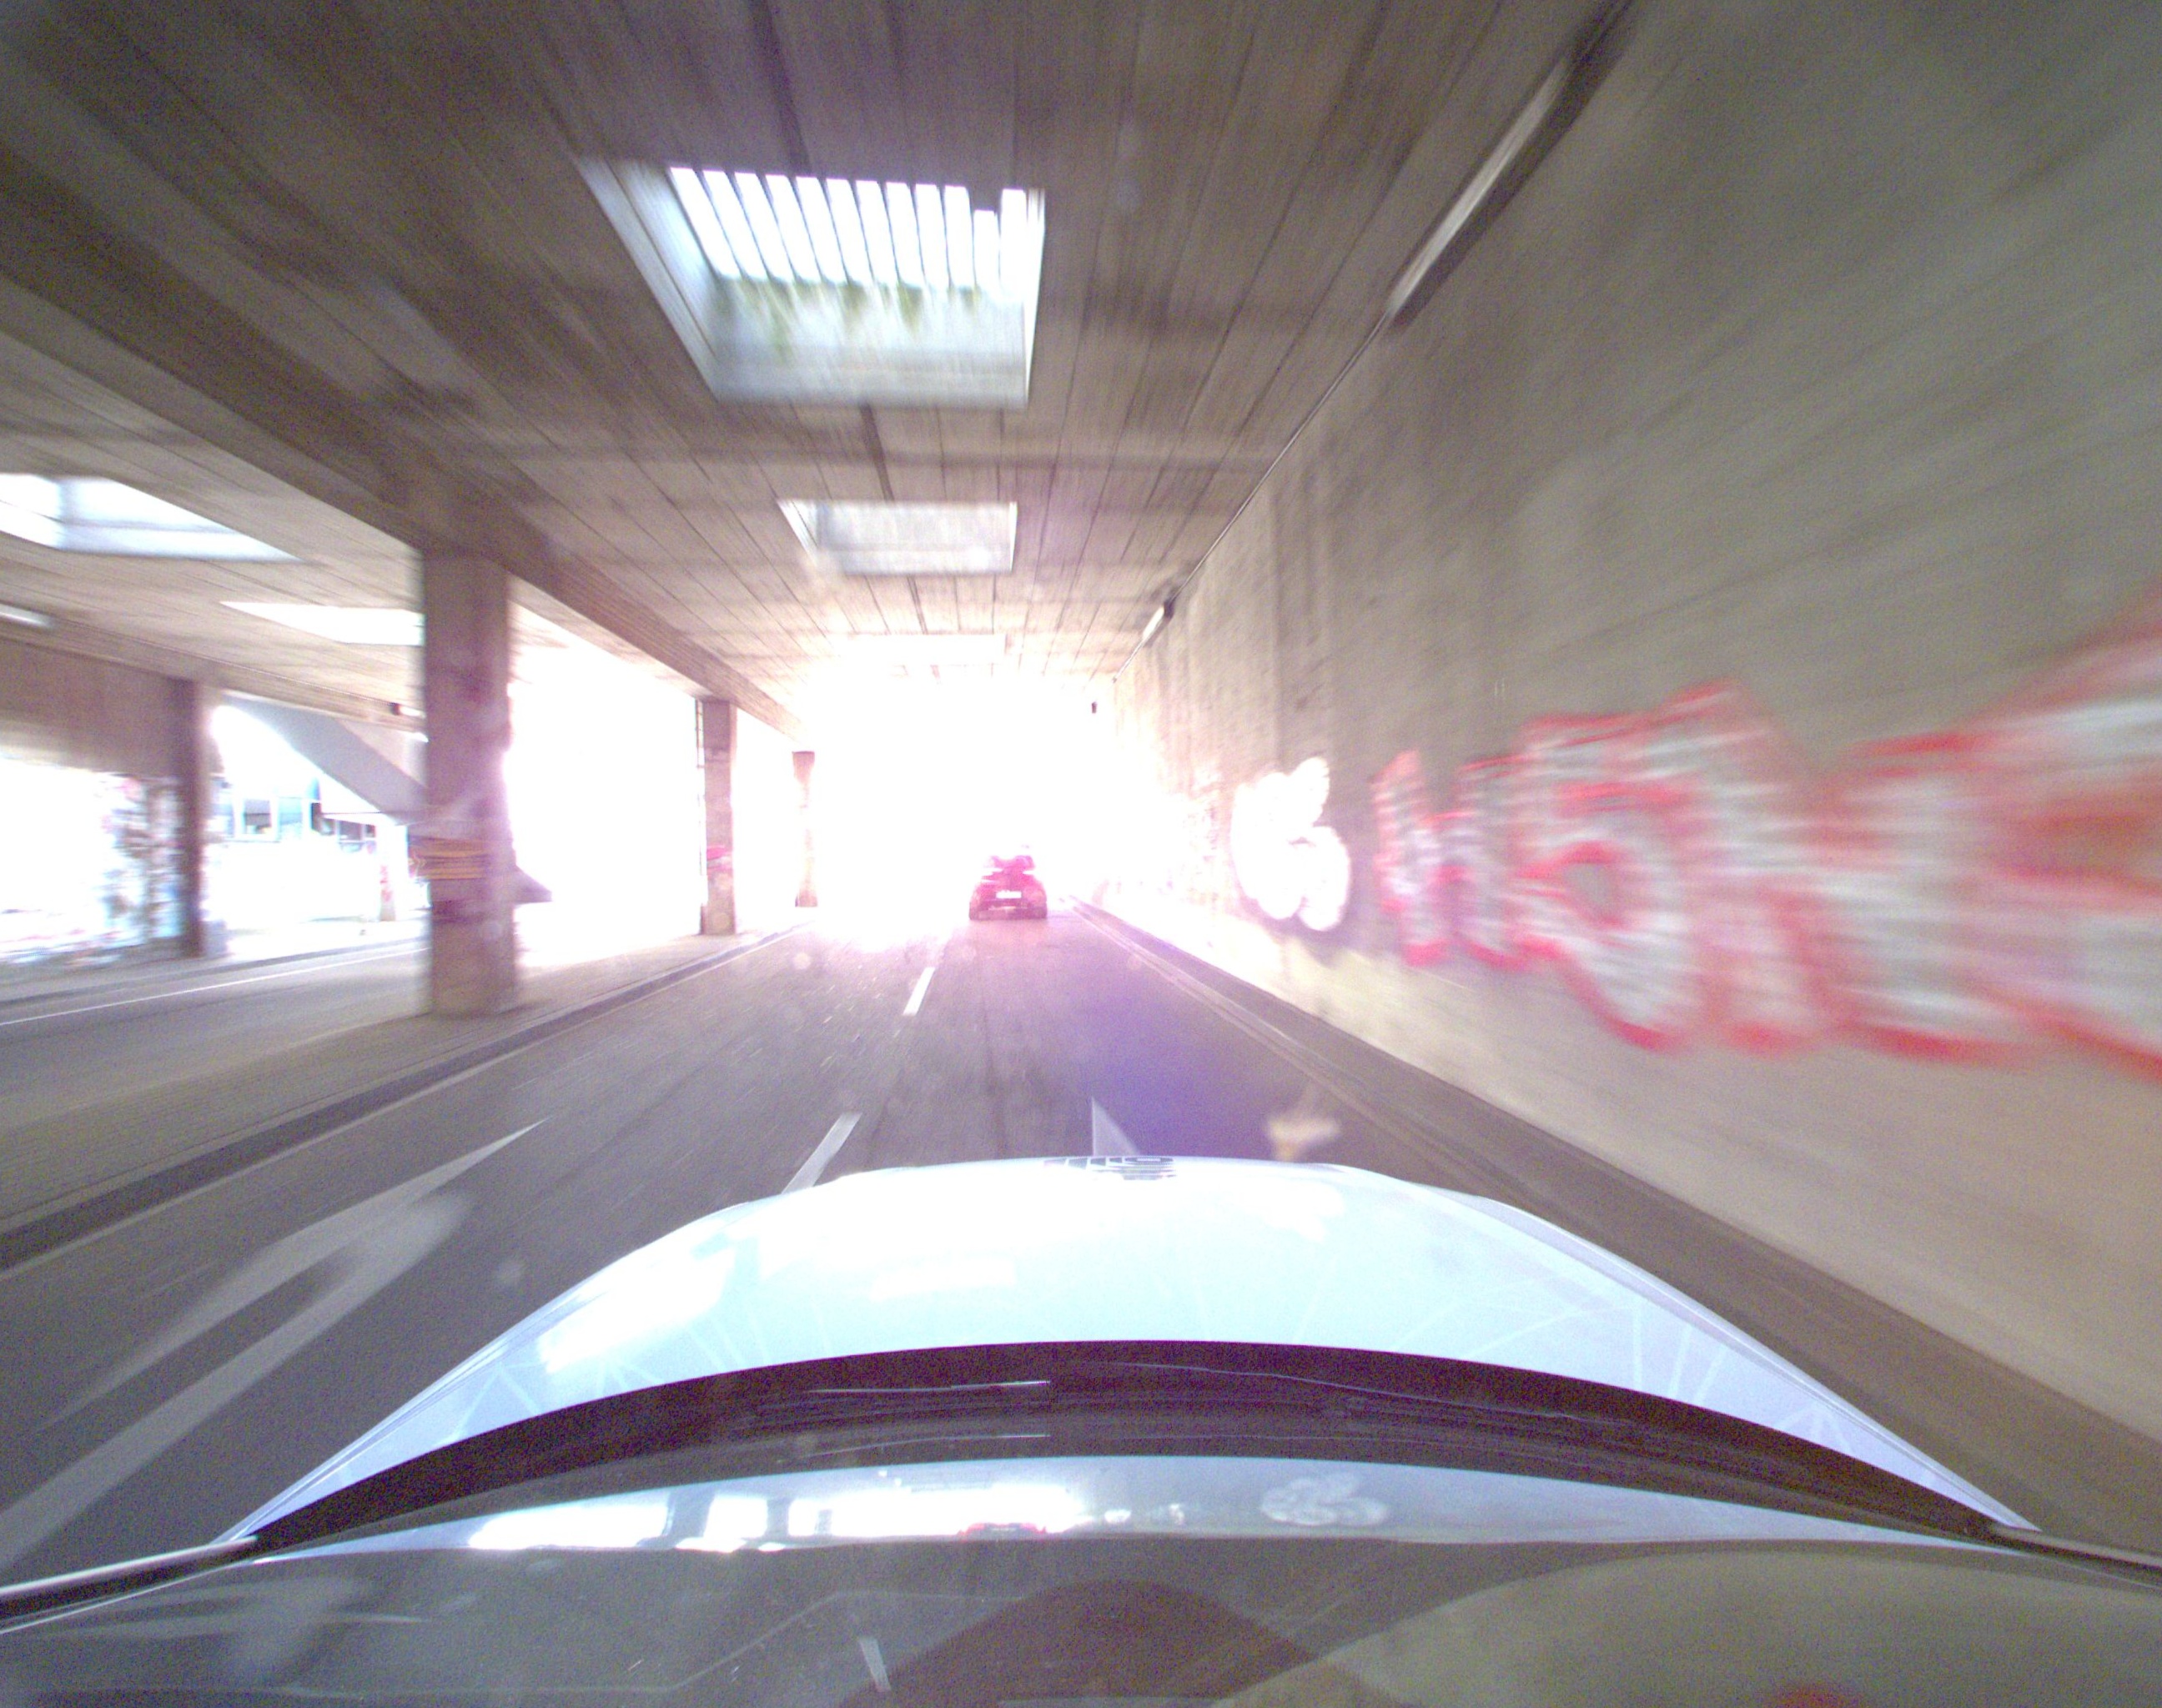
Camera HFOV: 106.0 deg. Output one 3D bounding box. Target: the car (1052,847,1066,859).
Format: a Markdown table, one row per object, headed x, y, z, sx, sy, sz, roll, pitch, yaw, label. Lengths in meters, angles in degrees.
| x | y | z | sx | sy | sz | roll | pitch | yaw | label |
| --- | --- | --- | --- | --- | --- | --- | --- | --- | --- |
| -4.016 | -0.163 | 150.735 | 1.983 | 2.013 | 4.276 | -2 | 1 | 6 | car |

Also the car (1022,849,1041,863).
| x | y | z | sx | sy | sz | roll | pitch | yaw | label |
| --- | --- | --- | --- | --- | --- | --- | --- | --- | --- |
| -7.133 | 0.272 | 118.054 | 1.983 | 2.013 | 4.276 | -2 | 1 | 6 | car |

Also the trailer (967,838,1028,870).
| x | y | z | sx | sy | sz | roll | pitch | yaw | label |
| --- | --- | --- | --- | --- | --- | --- | --- | --- | --- |
| -5.692 | 0.003 | 55.943 | 3.977 | 2.013 | 1.998 | -2 | 0 | -2 | trailer |

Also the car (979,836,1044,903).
| x | y | z | sx | sy | sz | roll | pitch | yaw | label |
| --- | --- | --- | --- | --- | --- | --- | --- | --- | --- |
| -2.288 | 0.422 | 25.807 | 1.813 | 1.882 | 4.574 | -2 | 1 | -7 | car |

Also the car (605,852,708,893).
| x | y | z | sx | sy | sz | roll | pitch | yaw | label |
| --- | --- | --- | --- | --- | --- | --- | --- | --- | --- |
| -22.945 | 0.974 | 44.164 | 4.475 | 2.013 | 1.996 | -1 | 2 | -7 | car |

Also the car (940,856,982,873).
| x | y | z | sx | sy | sz | roll | pitch | yaw | label |
| --- | --- | --- | --- | --- | --- | --- | --- | --- | --- |
| -11.948 | 1.000 | 81.417 | 3.978 | 1.574 | 1.638 | -1 | 0 | -3 | car |

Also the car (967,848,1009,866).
| x | y | z | sx | sy | sz | roll | pitch | yaw | label |
| --- | --- | --- | --- | --- | --- | --- | --- | --- | --- |
| -9.824 | 0.329 | 85.909 | 4.137 | 1.739 | 2.000 | -2 | 0 | 0 | car |

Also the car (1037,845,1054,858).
| x | y | z | sx | sy | sz | roll | pitch | yaw | label |
| --- | --- | --- | --- | --- | --- | --- | --- | --- | --- |
| -5.618 | -0.420 | 128.613 | 1.983 | 2.013 | 4.276 | -2 | 1 | 6 | car |

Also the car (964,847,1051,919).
| x | y | z | sx | sy | sz | roll | pitch | yaw | label |
| --- | --- | --- | --- | --- | --- | --- | --- | --- | --- |
| -1.791 | 0.598 | 19.565 | 1.824 | 1.501 | 4.202 | -1 | 0 | -6 | car |
